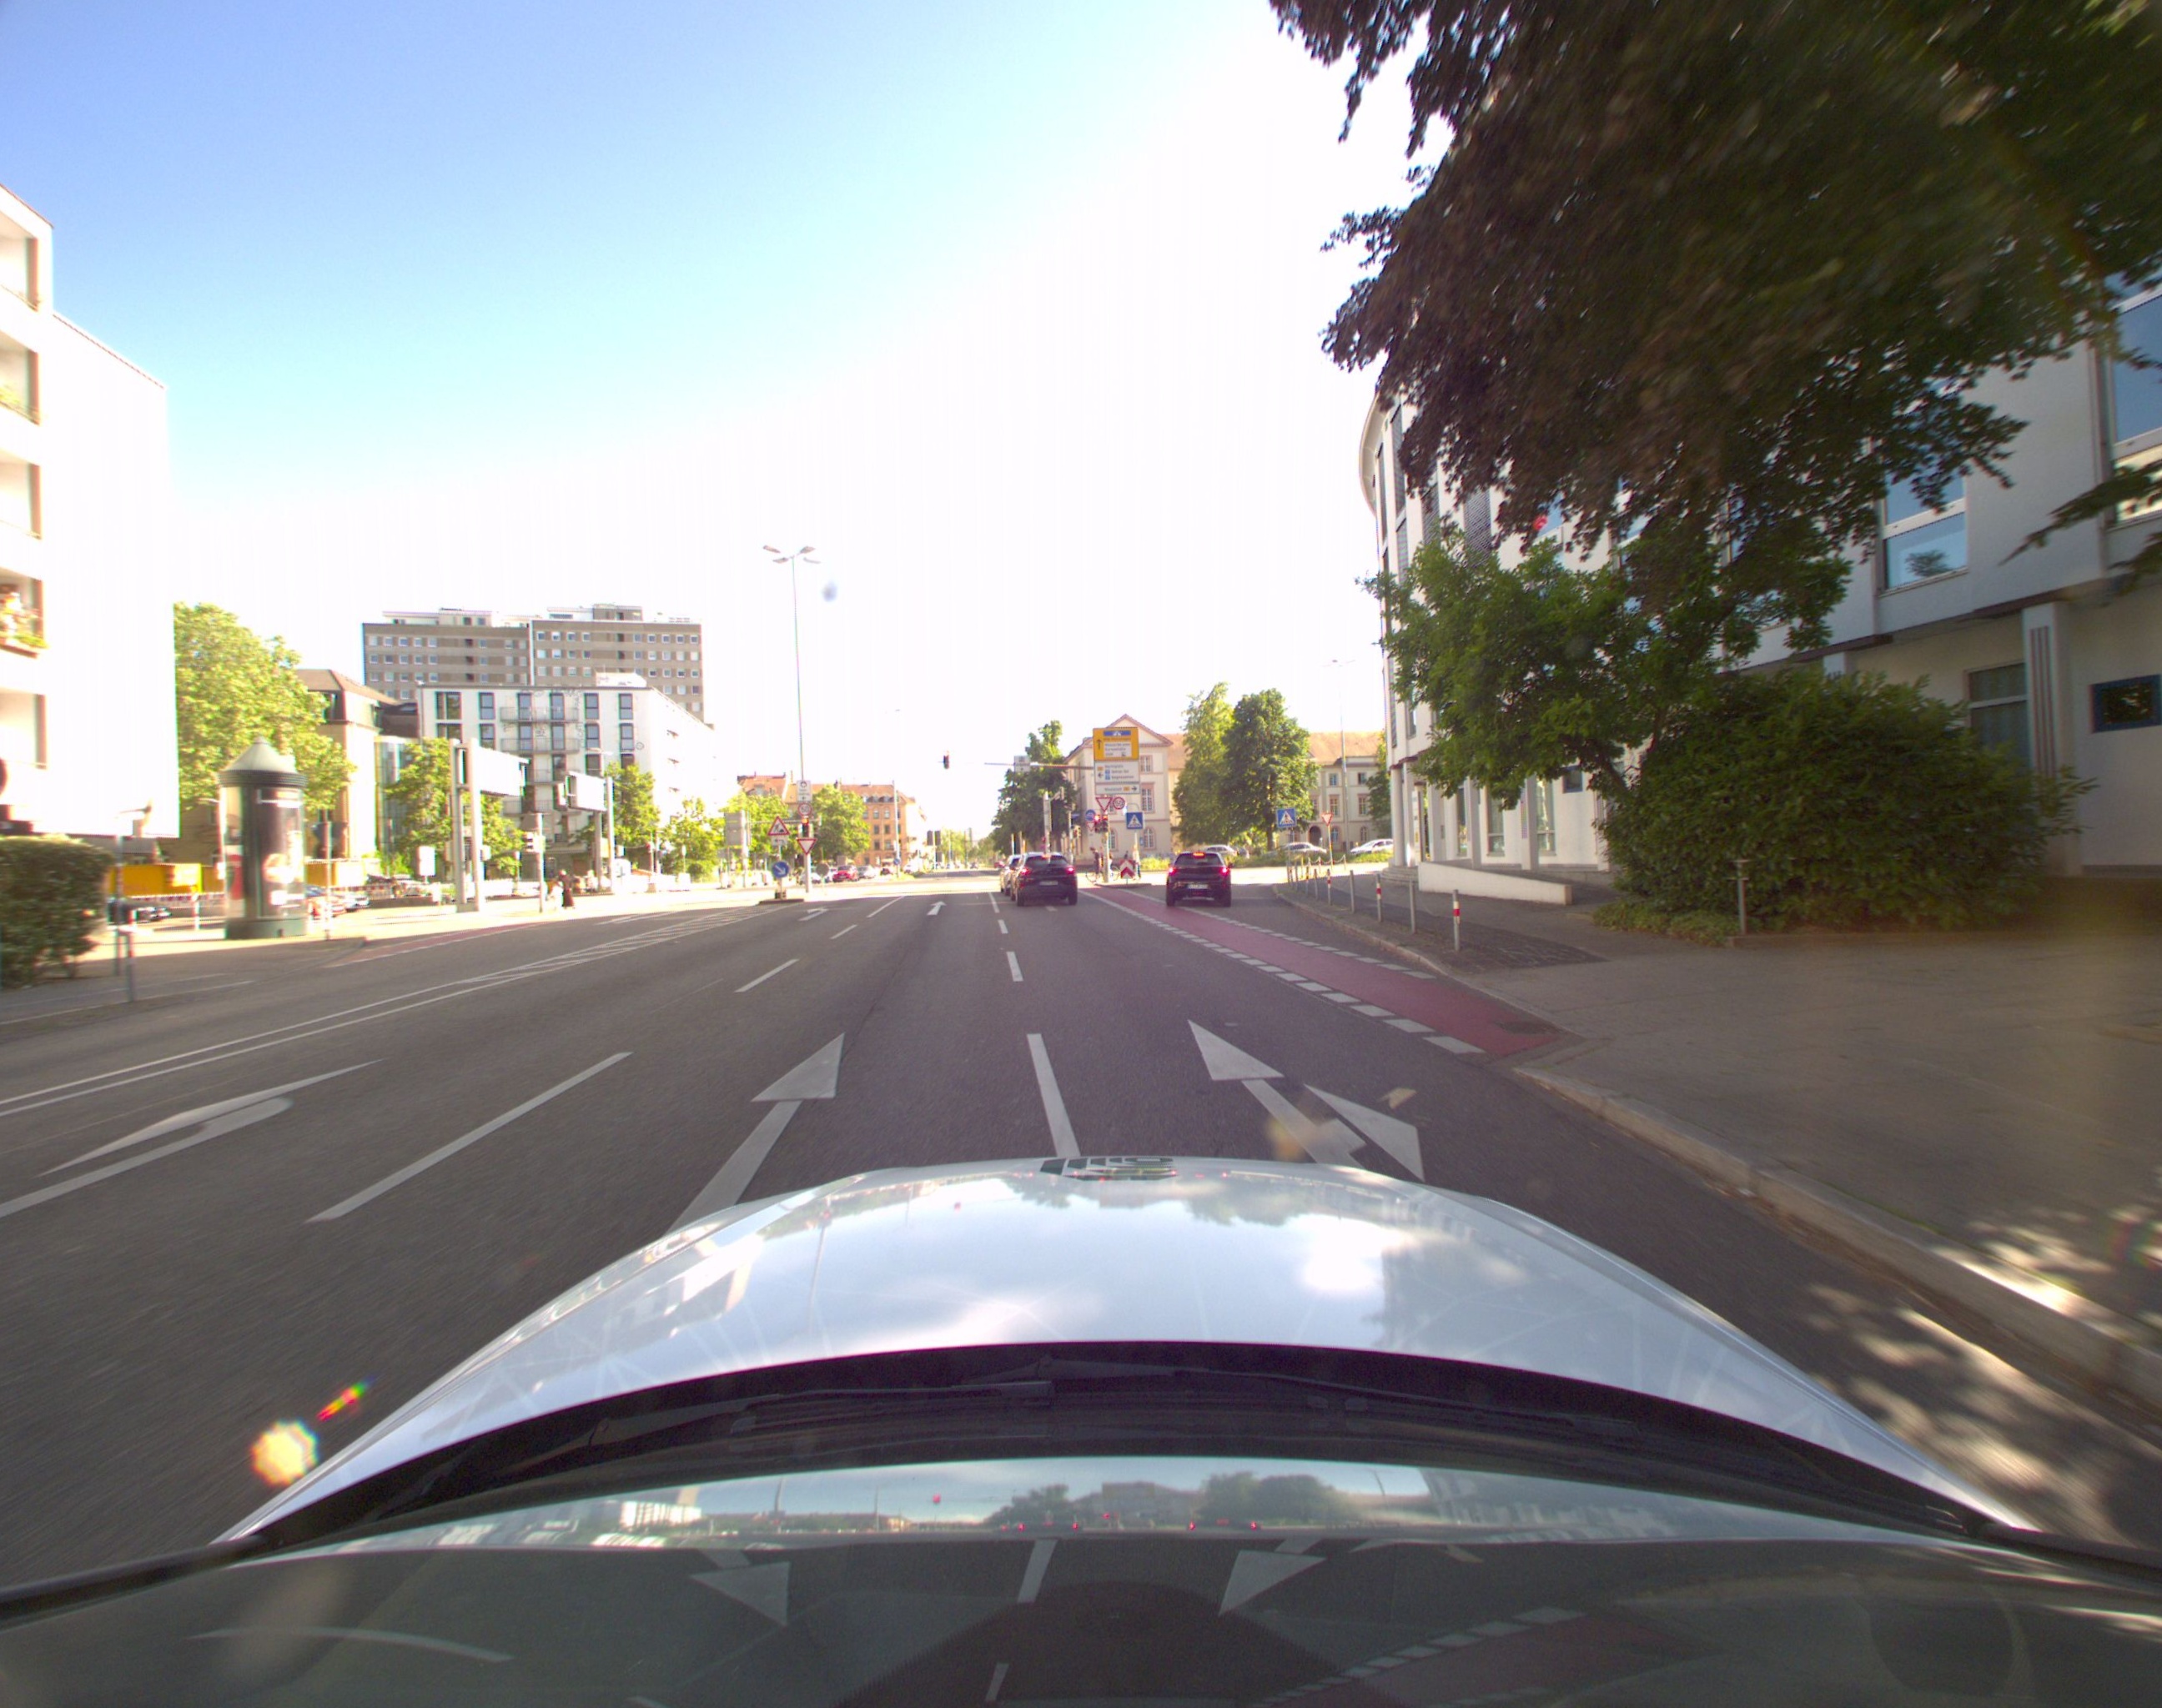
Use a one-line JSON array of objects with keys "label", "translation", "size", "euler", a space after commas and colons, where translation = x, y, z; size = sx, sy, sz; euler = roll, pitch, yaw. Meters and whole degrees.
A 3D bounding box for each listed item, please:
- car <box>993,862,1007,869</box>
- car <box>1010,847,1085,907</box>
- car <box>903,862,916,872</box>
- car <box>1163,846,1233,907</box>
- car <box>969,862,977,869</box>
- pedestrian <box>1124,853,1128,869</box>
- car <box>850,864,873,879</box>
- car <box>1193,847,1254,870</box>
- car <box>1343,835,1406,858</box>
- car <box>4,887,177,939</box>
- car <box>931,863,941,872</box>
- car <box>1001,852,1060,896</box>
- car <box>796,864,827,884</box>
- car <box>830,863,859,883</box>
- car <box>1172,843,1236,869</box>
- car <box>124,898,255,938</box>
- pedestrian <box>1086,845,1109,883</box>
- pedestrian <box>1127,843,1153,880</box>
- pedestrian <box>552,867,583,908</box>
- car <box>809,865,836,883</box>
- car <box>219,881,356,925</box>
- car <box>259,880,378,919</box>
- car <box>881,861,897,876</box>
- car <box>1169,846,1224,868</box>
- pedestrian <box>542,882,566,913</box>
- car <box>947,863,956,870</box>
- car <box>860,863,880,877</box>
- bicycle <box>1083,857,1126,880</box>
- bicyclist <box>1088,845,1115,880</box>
[{"label": "car", "translation": [-17.628, 2.434, 177.135], "size": [1.798, 1.407, 4.014], "euler": [-2, 0, 12]}, {"label": "car", "translation": [-1.089, 0.644, 24.589], "size": [1.829, 1.578, 3.828], "euler": [-3, 0, -8]}, {"label": "car", "translation": [-29.729, 2.289, 141.459], "size": [1.809, 1.634, 3.988], "euler": [-2, 0, -8]}, {"label": "car", "translation": [3.278, 0.607, 23.401], "size": [1.737, 1.573, 3.562], "euler": [-1, 0, 4]}, {"label": "car", "translation": [-26.054, 2.734, 197.105], "size": [1.809, 1.448, 3.988], "euler": [-2, 0, -8]}, {"label": "pedestrian", "translation": [4.403, 0.684, 79.779], "size": [0.439, 1.615, 0.467], "euler": [0, -1, -2]}, {"label": "car", "translation": [-23.641, 1.878, 87.998], "size": [1.874, 1.448, 3.988], "euler": [-2, 0, -8]}, {"label": "car", "translation": [10.786, 0.334, 61.776], "size": [4.122, 1.601, 1.813], "euler": [-3, 0, -15]}, {"label": "car", "translation": [22.278, -0.553, 61.775], "size": [4.182, 1.508, 1.813], "euler": [-3, 0, -15]}, {"label": "car", "translation": [-35.053, 2.057, 28.926], "size": [3.641, 1.515, 1.608], "euler": [-3, 0, -12]}, {"label": "car", "translation": [-28.639, 2.687, 160.944], "size": [1.809, 1.634, 3.988], "euler": [-2, 0, -8]}, {"label": "car", "translation": [-1.940, 0.698, 30.137], "size": [1.829, 1.452, 3.977], "euler": [-2, 0, -8]}, {"label": "car", "translation": [-24.187, 1.795, 73.252], "size": [1.874, 1.617, 3.988], "euler": [-2, 0, -8]}, {"label": "car", "translation": [-20.864, 1.637, 72.005], "size": [1.790, 1.617, 3.989], "euler": [-2, 0, -8]}, {"label": "car", "translation": [8.725, 0.141, 57.800], "size": [4.122, 1.601, 1.813], "euler": [-3, 0, -15]}, {"label": "car", "translation": [-41.399, 2.941, 37.920], "size": [3.642, 1.455, 1.838], "euler": [-3, 0, -12]}, {"label": "pedestrian", "translation": [0.745, 0.448, 37.531], "size": [0.827, 1.702, 0.913], "euler": [-2, 0, -14]}, {"label": "pedestrian", "translation": [2.790, 0.346, 38.628], "size": [1.039, 1.659, 0.782], "euler": [-3, 0, -5]}, {"label": "pedestrian", "translation": [-21.032, 1.369, 33.369], "size": [0.667, 1.649, 0.837], "euler": [-2, 0, 38]}, {"label": "car", "translation": [-25.245, 1.913, 79.707], "size": [1.874, 1.617, 3.988], "euler": [-2, 0, -8]}, {"label": "car", "translation": [-33.464, 2.036, 34.456], "size": [3.642, 1.515, 1.838], "euler": [-3, 0, -12]}, {"label": "car", "translation": [-36.281, 2.149, 38.849], "size": [3.642, 1.515, 1.838], "euler": [-3, 0, -12]}, {"label": "car", "translation": [-28.705, 2.144, 121.750], "size": [1.809, 2.134, 3.988], "euler": [-2, 0, -8]}, {"label": "car", "translation": [9.624, 0.233, 67.840], "size": [4.122, 1.601, 1.813], "euler": [-3, 0, -15]}, {"label": "pedestrian", "translation": [-20.858, 1.707, 32.245], "size": [0.667, 1.166, 0.668], "euler": [-2, 0, -42]}, {"label": "car", "translation": [-28.631, 2.733, 180.595], "size": [1.809, 1.448, 3.988], "euler": [-2, 0, -8]}, {"label": "car", "translation": [-25.006, 1.894, 96.562], "size": [1.874, 1.448, 3.988], "euler": [-2, 0, -8]}, {"label": "bicycle", "translation": [1.142, 0.696, 39.793], "size": [2.032, 1.061, 0.619], "euler": [-2, 0, -11]}, {"label": "bicyclist", "translation": [0.996, 0.405, 39.776], "size": [1.165, 1.633, 0.726], "euler": [-1, 0, -11]}]
